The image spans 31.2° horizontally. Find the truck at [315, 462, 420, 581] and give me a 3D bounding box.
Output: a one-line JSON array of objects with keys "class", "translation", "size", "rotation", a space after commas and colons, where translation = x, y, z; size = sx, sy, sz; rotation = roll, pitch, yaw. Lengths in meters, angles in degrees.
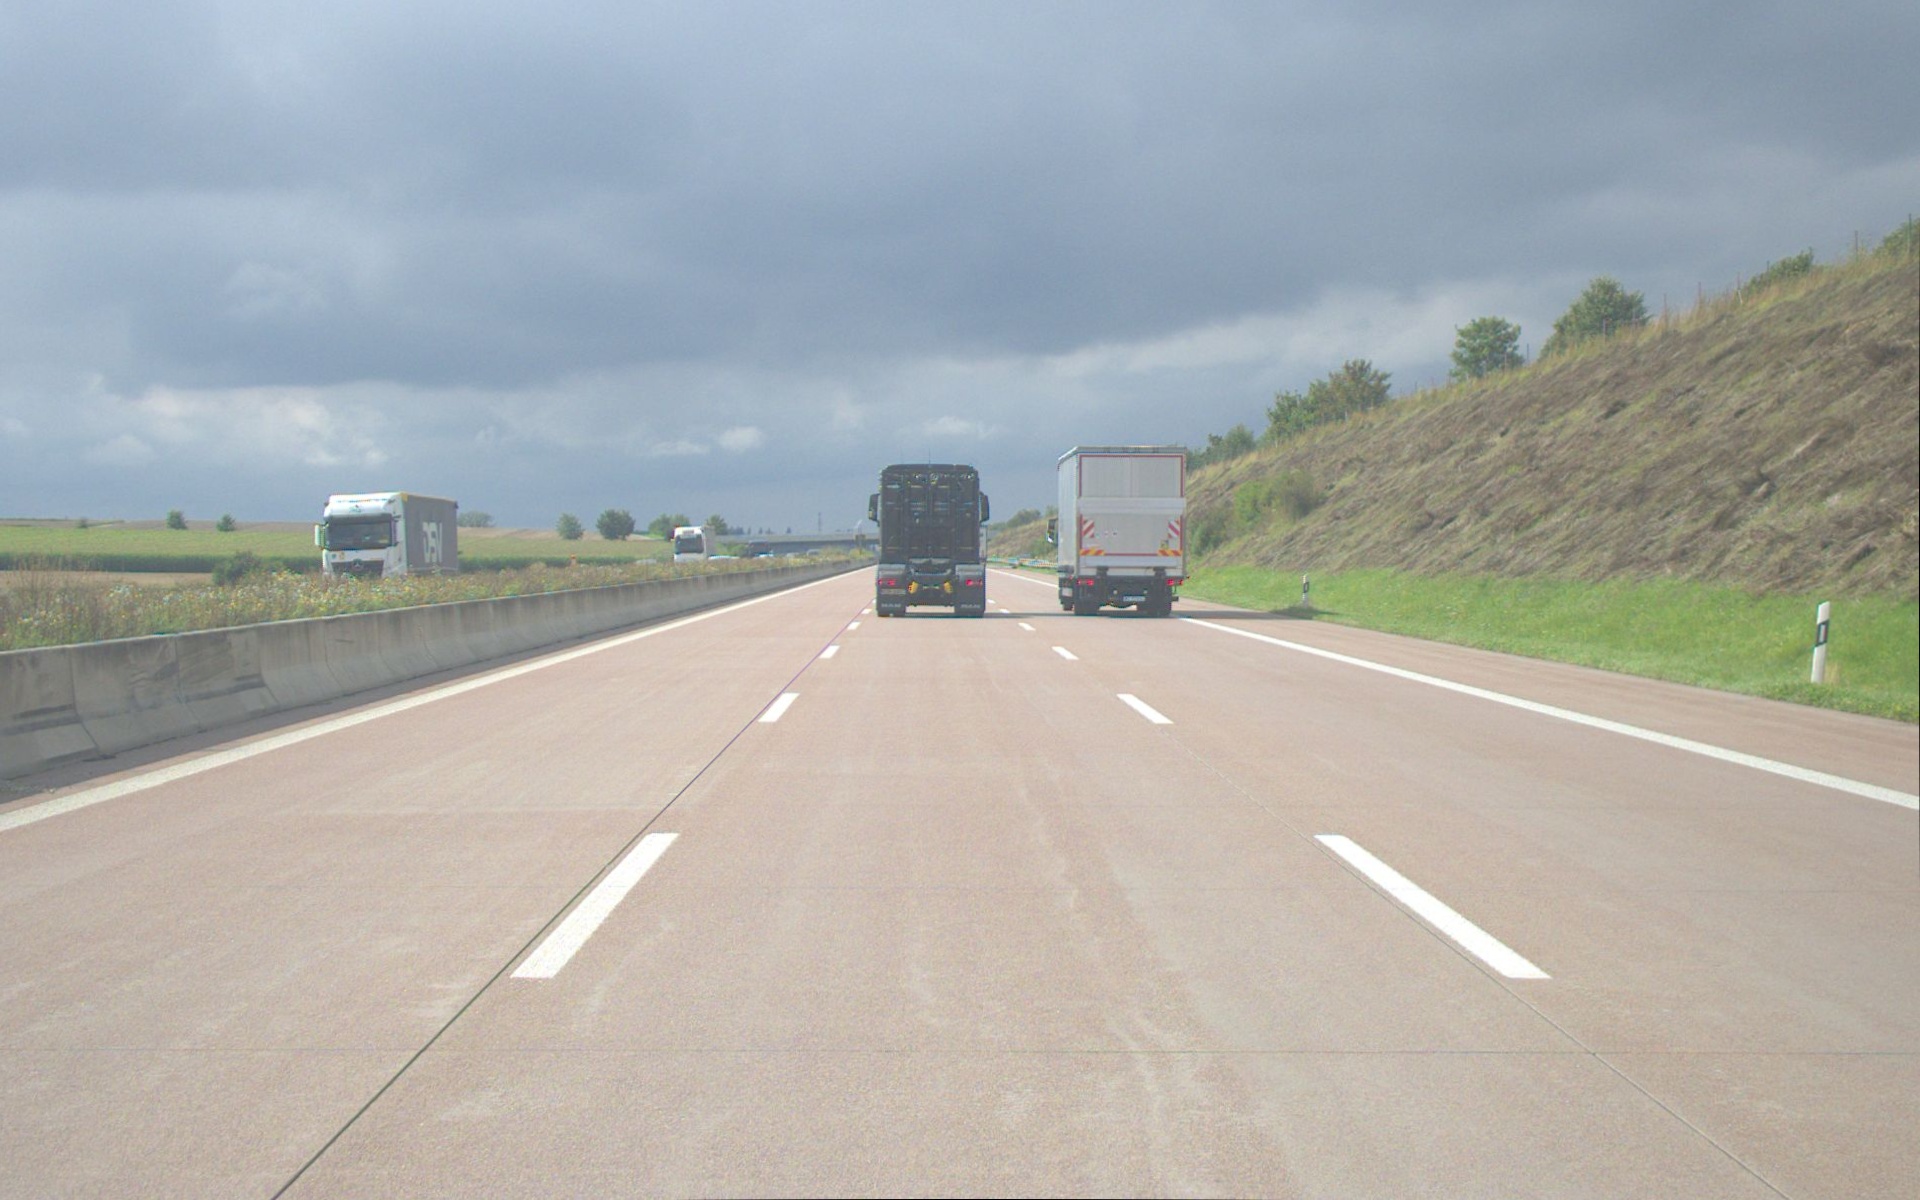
[{"class": "truck", "translation": [-20.306, -2.681, 118.044], "size": [2.770, 3.945, 5.291], "rotation": [-1, 1, -1]}]

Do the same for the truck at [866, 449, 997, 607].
[{"class": "truck", "translation": [-0.755, -1.655, 81.400], "size": [2.847, 3.537, 8.320], "rotation": [0, 1, -2]}]

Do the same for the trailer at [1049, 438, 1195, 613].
[{"class": "trailer", "translation": [3.827, -1.758, 83.225], "size": [2.747, 3.998, 8.671], "rotation": [0, 1, -2]}]
